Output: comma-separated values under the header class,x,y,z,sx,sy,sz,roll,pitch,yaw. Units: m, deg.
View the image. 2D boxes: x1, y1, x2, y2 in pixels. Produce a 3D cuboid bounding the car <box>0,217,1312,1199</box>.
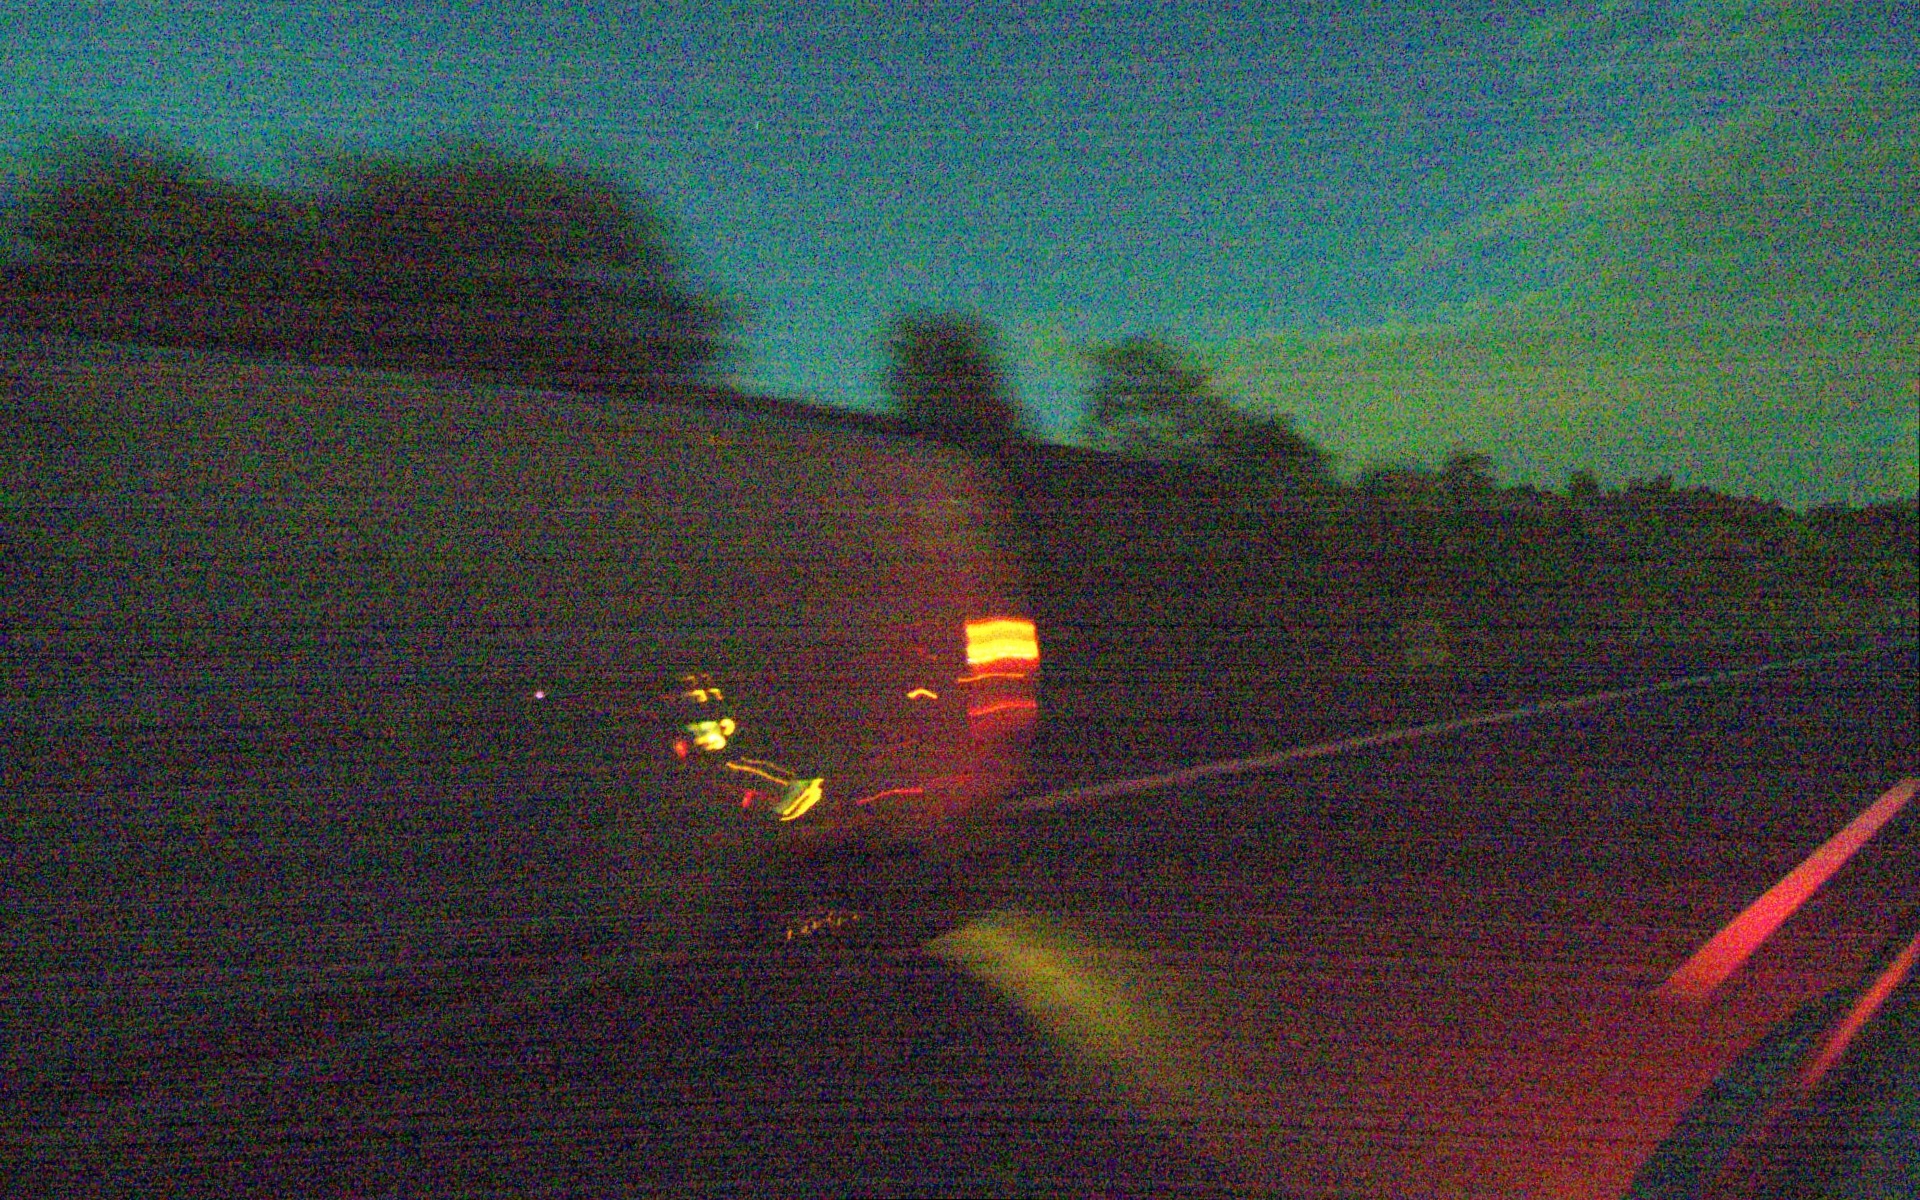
class,x,y,z,sx,sy,sz,roll,pitch,yaw
car,-1.287,0.341,3.360,5.564,2.026,2.120,-1,1,-40
